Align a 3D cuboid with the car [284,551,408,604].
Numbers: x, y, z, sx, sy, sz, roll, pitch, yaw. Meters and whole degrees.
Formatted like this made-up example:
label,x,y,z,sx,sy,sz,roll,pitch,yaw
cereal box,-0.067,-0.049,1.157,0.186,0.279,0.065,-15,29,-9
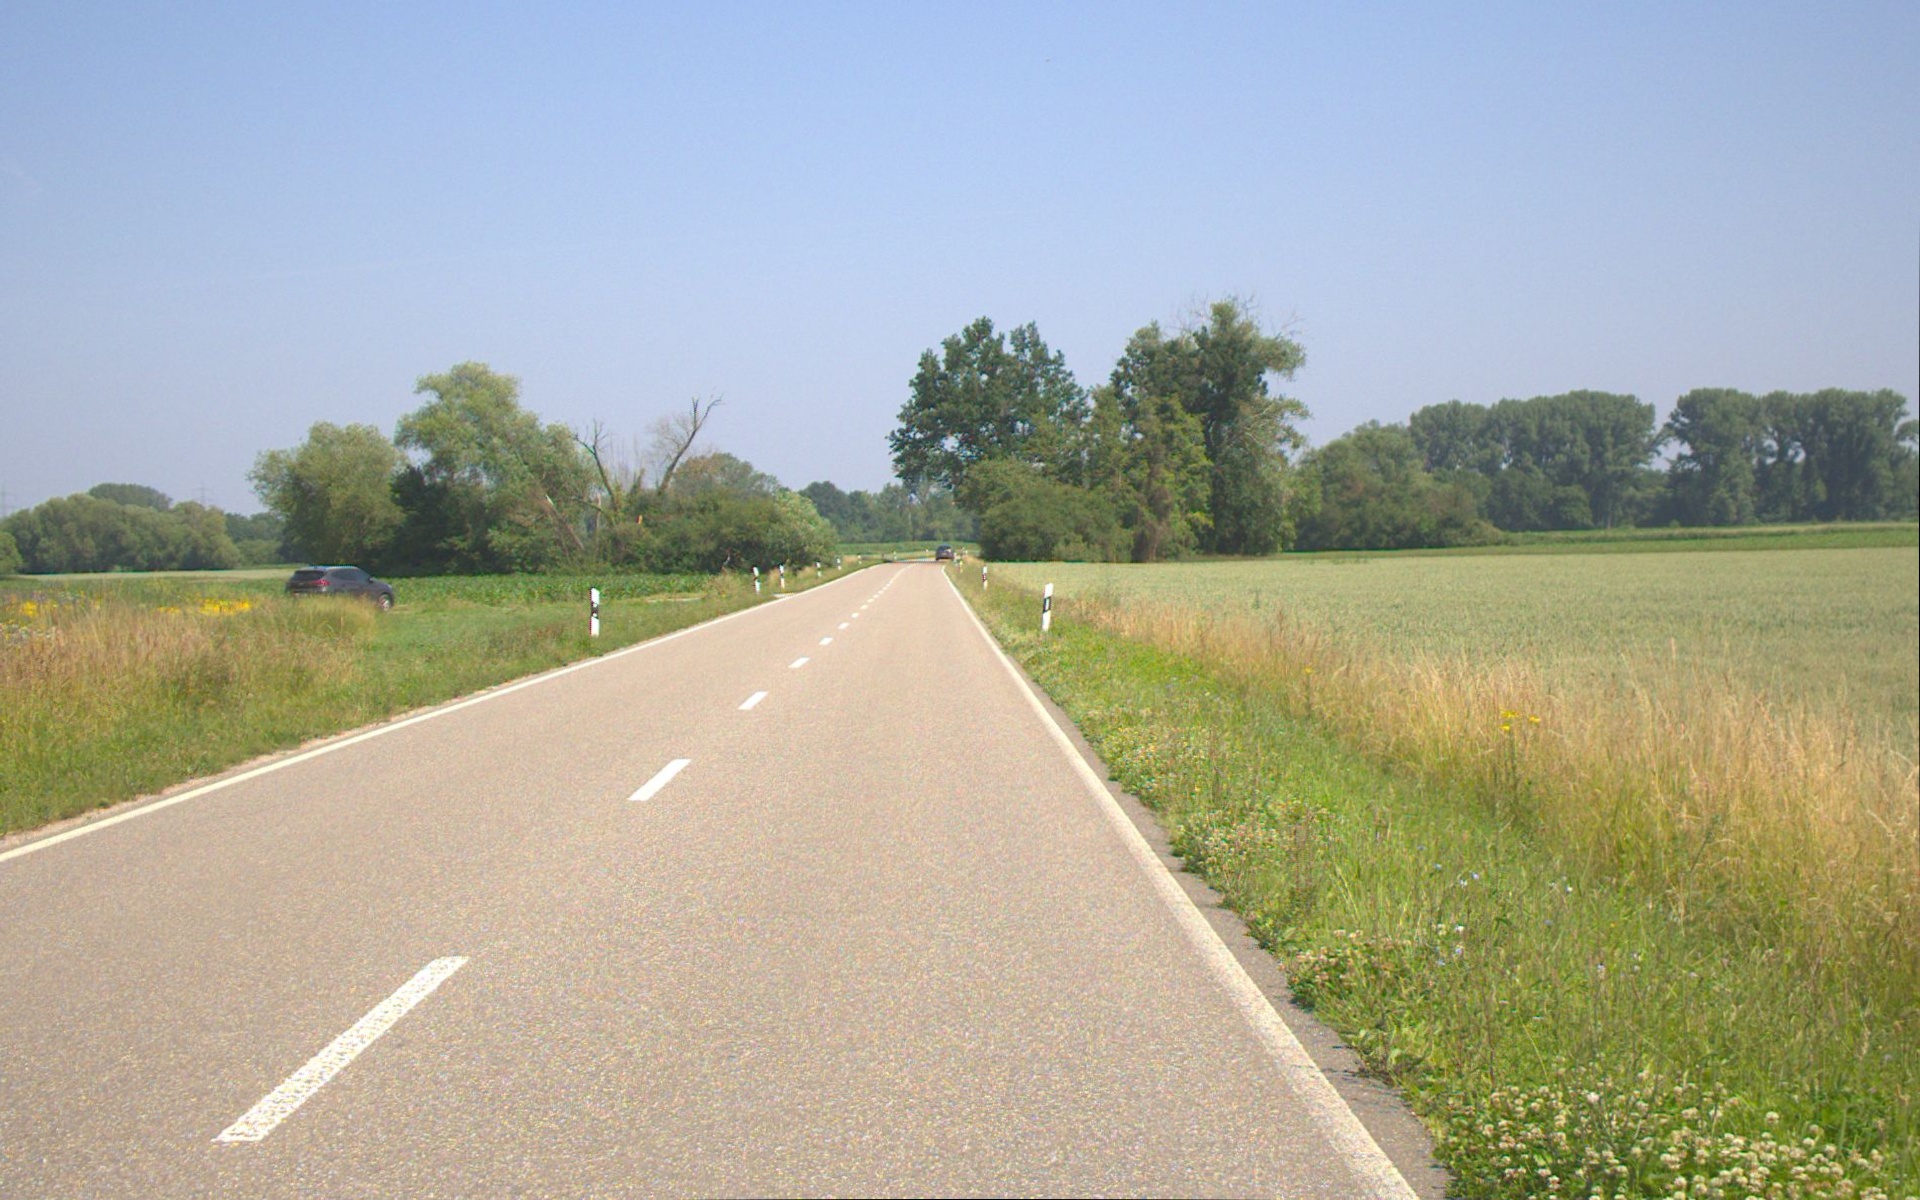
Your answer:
label,x,y,z,sx,sy,sz,roll,pitch,yaw
car,-20.574,-0.762,115.349,1.755,1.645,4.523,-1,1,25
